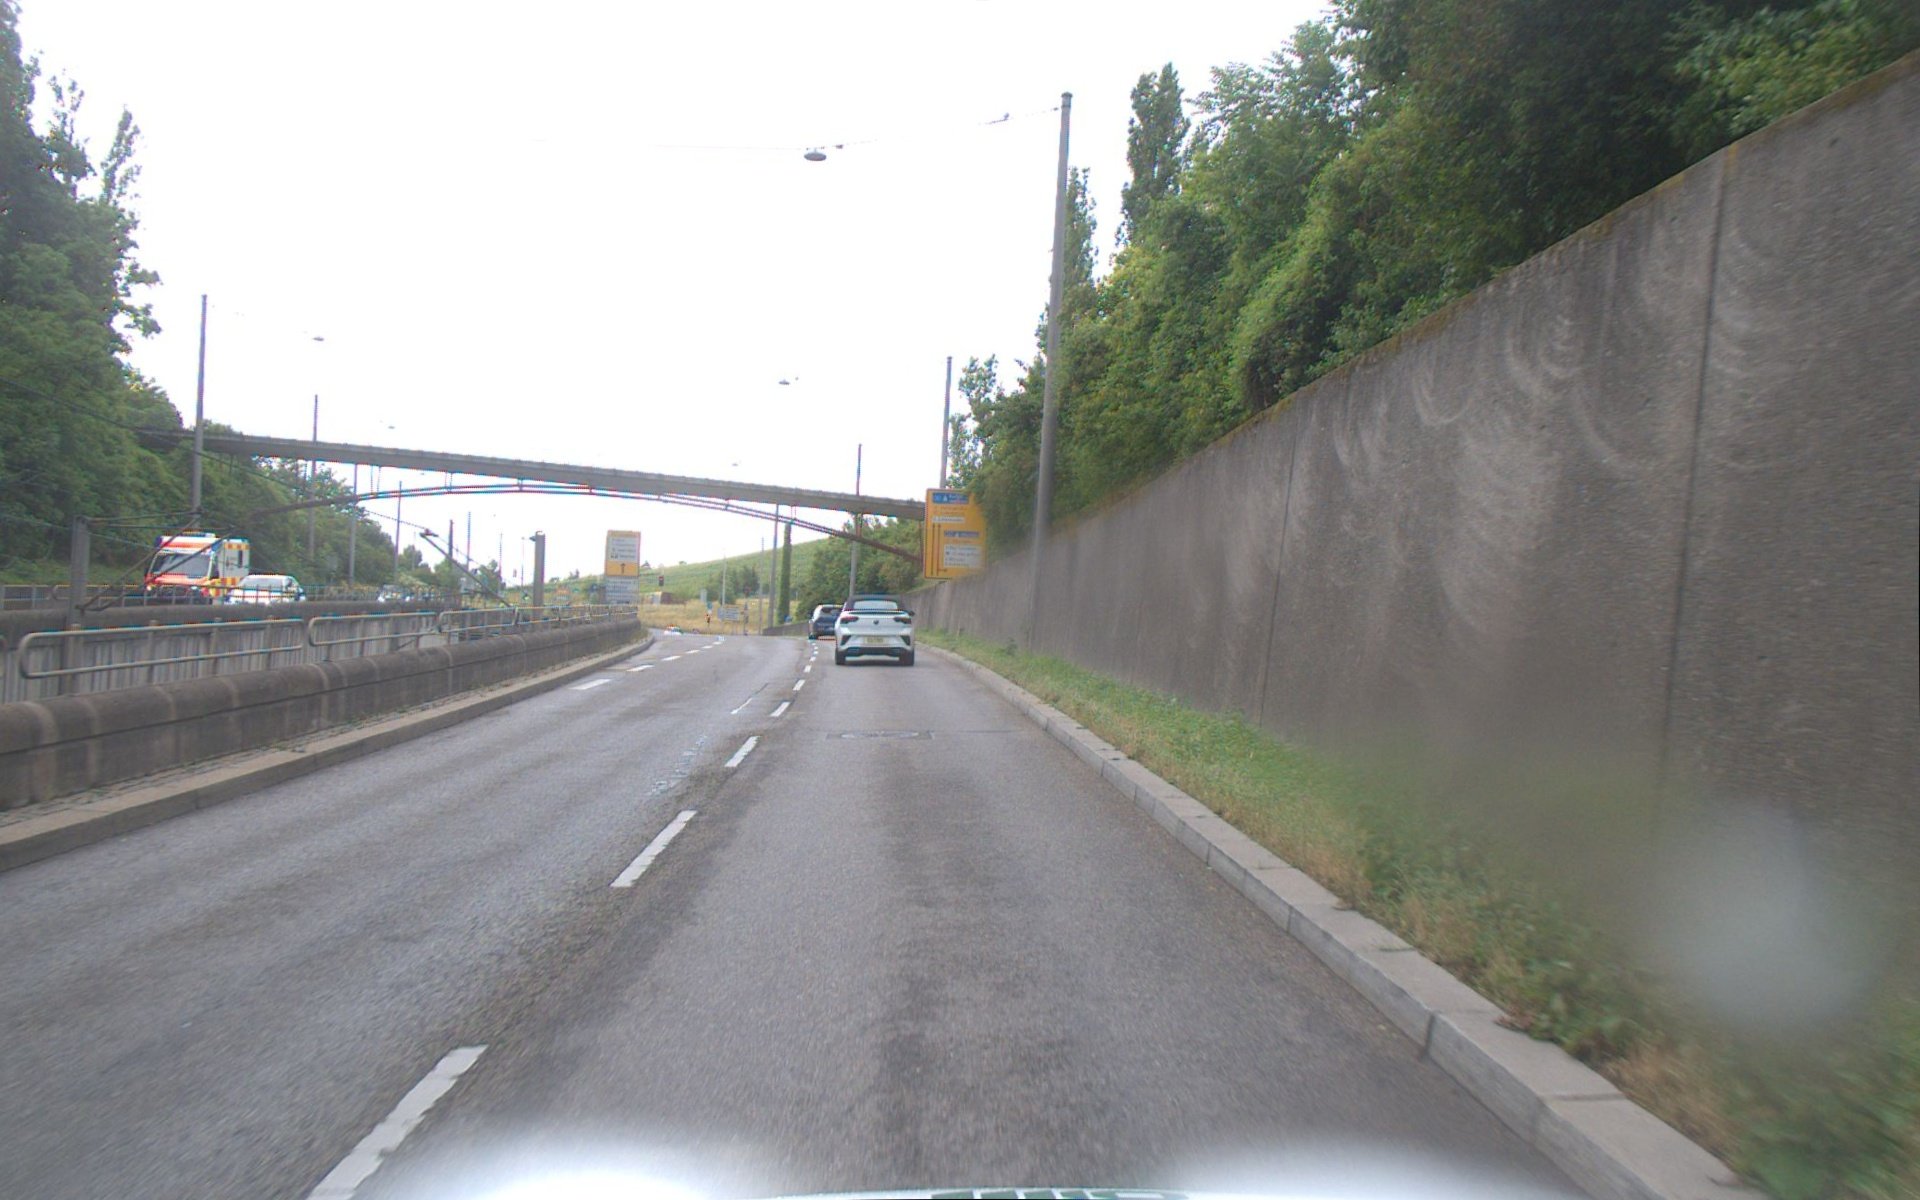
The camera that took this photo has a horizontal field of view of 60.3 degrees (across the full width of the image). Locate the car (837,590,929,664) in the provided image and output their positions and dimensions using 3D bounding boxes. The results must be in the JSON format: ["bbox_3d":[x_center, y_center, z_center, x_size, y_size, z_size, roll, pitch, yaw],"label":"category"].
[{"bbox_3d":[-1.815,0.573,37.784,1.957,1.606,4.121,0,0,-5],"label":"car"}]

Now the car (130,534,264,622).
[{"bbox_3d":[-25.406,-0.687,55.333,2.140,2.782,6.336,0,0,-6],"label":"car"}]

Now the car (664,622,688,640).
[{"bbox_3d":[-28.675,3.137,167.030,1.739,1.545,3.722,5,-3,-2],"label":"car"}]

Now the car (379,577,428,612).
[{"bbox_3d":[-29.113,-0.265,86.610,1.926,1.780,4.130,0,0,-11],"label":"car"}]

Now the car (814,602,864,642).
[{"bbox_3d":[-5.129,0.919,70.570,1.887,1.627,4.061,0,0,-1],"label":"car"}]

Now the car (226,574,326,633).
[{"bbox_3d":[-21.243,0.113,51.522,1.783,1.734,4.105,0,0,-6],"label":"car"}]
